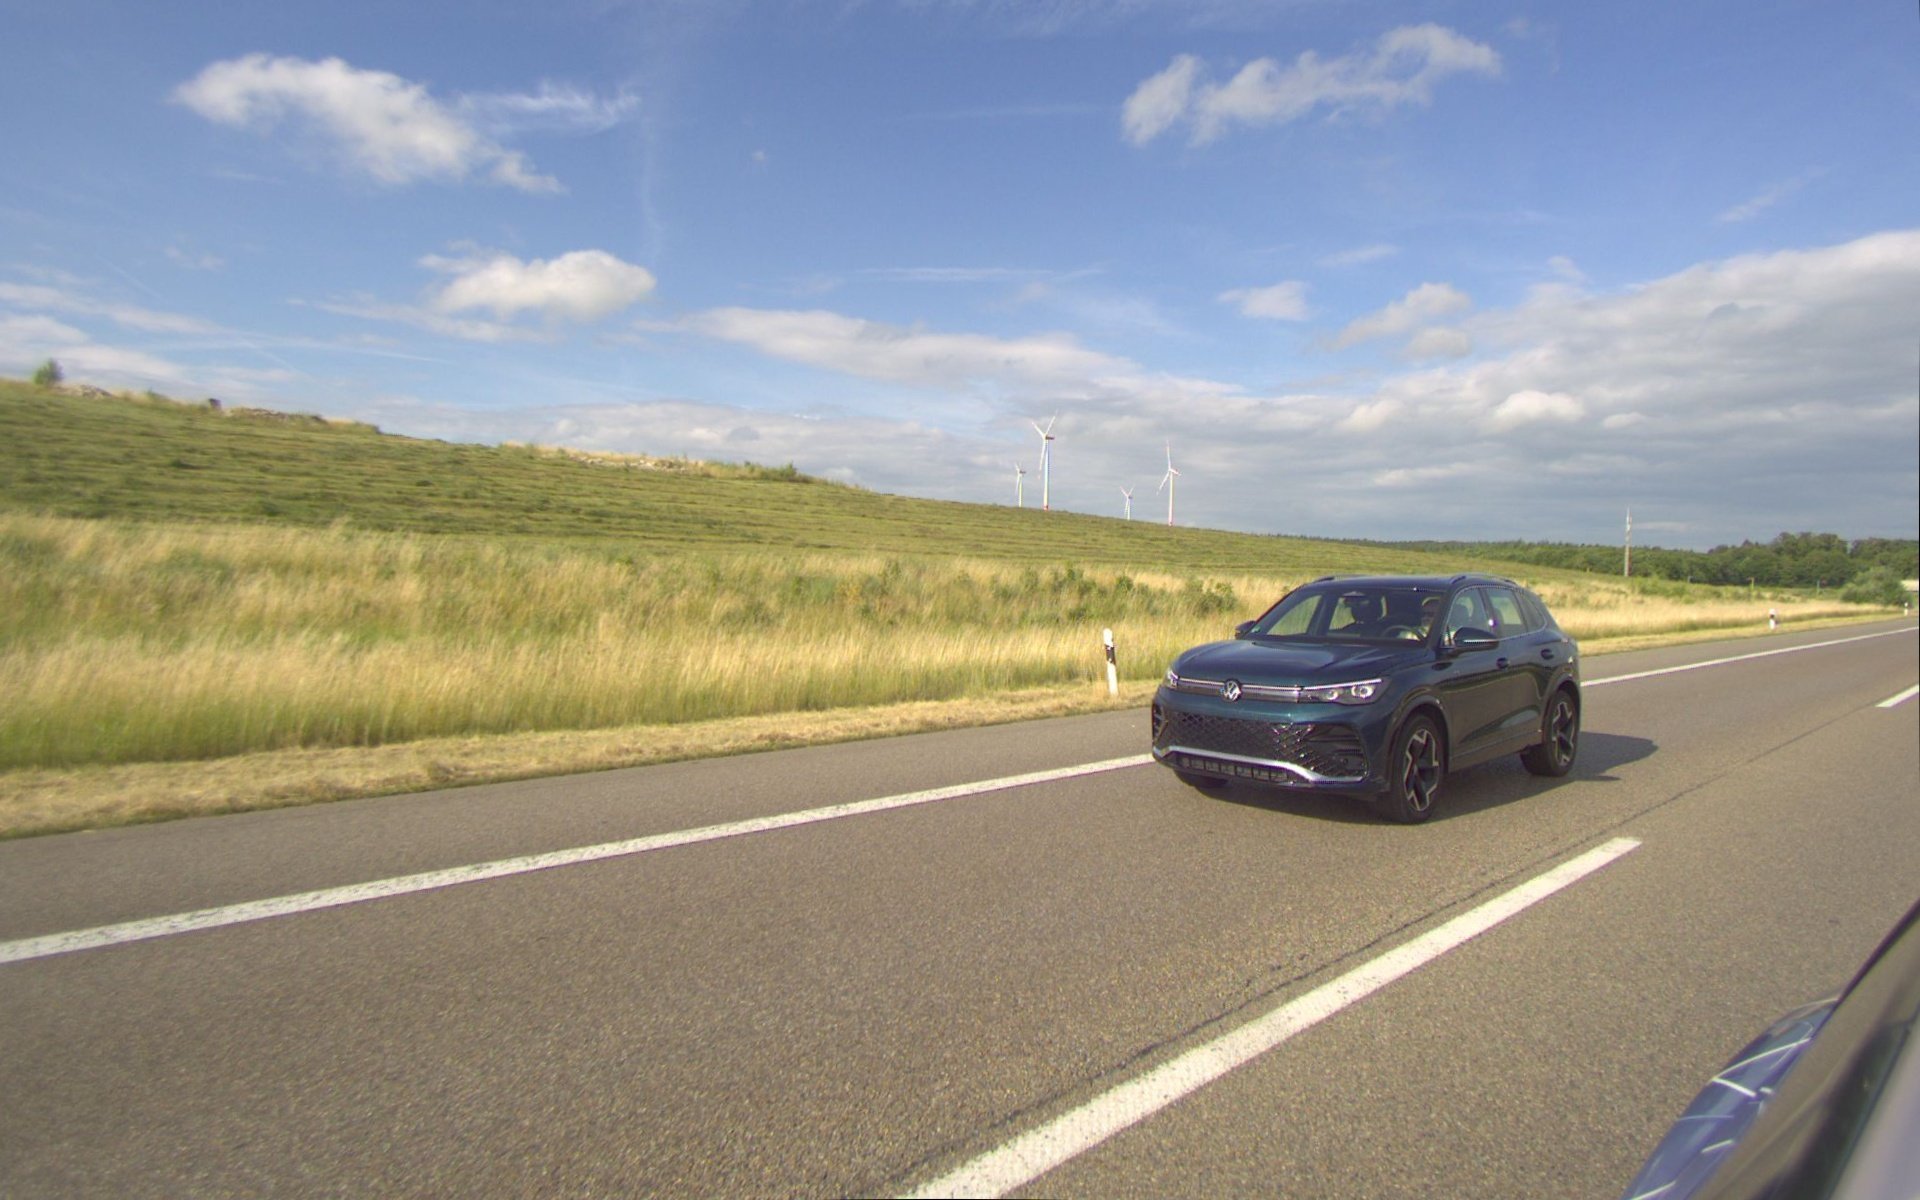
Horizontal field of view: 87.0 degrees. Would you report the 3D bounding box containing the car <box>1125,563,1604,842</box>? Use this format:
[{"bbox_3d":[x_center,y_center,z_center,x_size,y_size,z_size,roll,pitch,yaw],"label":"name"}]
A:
[{"bbox_3d":[3.341,0.572,7.953,4.161,1.621,1.824,-1,0,-41],"label":"car"}]
